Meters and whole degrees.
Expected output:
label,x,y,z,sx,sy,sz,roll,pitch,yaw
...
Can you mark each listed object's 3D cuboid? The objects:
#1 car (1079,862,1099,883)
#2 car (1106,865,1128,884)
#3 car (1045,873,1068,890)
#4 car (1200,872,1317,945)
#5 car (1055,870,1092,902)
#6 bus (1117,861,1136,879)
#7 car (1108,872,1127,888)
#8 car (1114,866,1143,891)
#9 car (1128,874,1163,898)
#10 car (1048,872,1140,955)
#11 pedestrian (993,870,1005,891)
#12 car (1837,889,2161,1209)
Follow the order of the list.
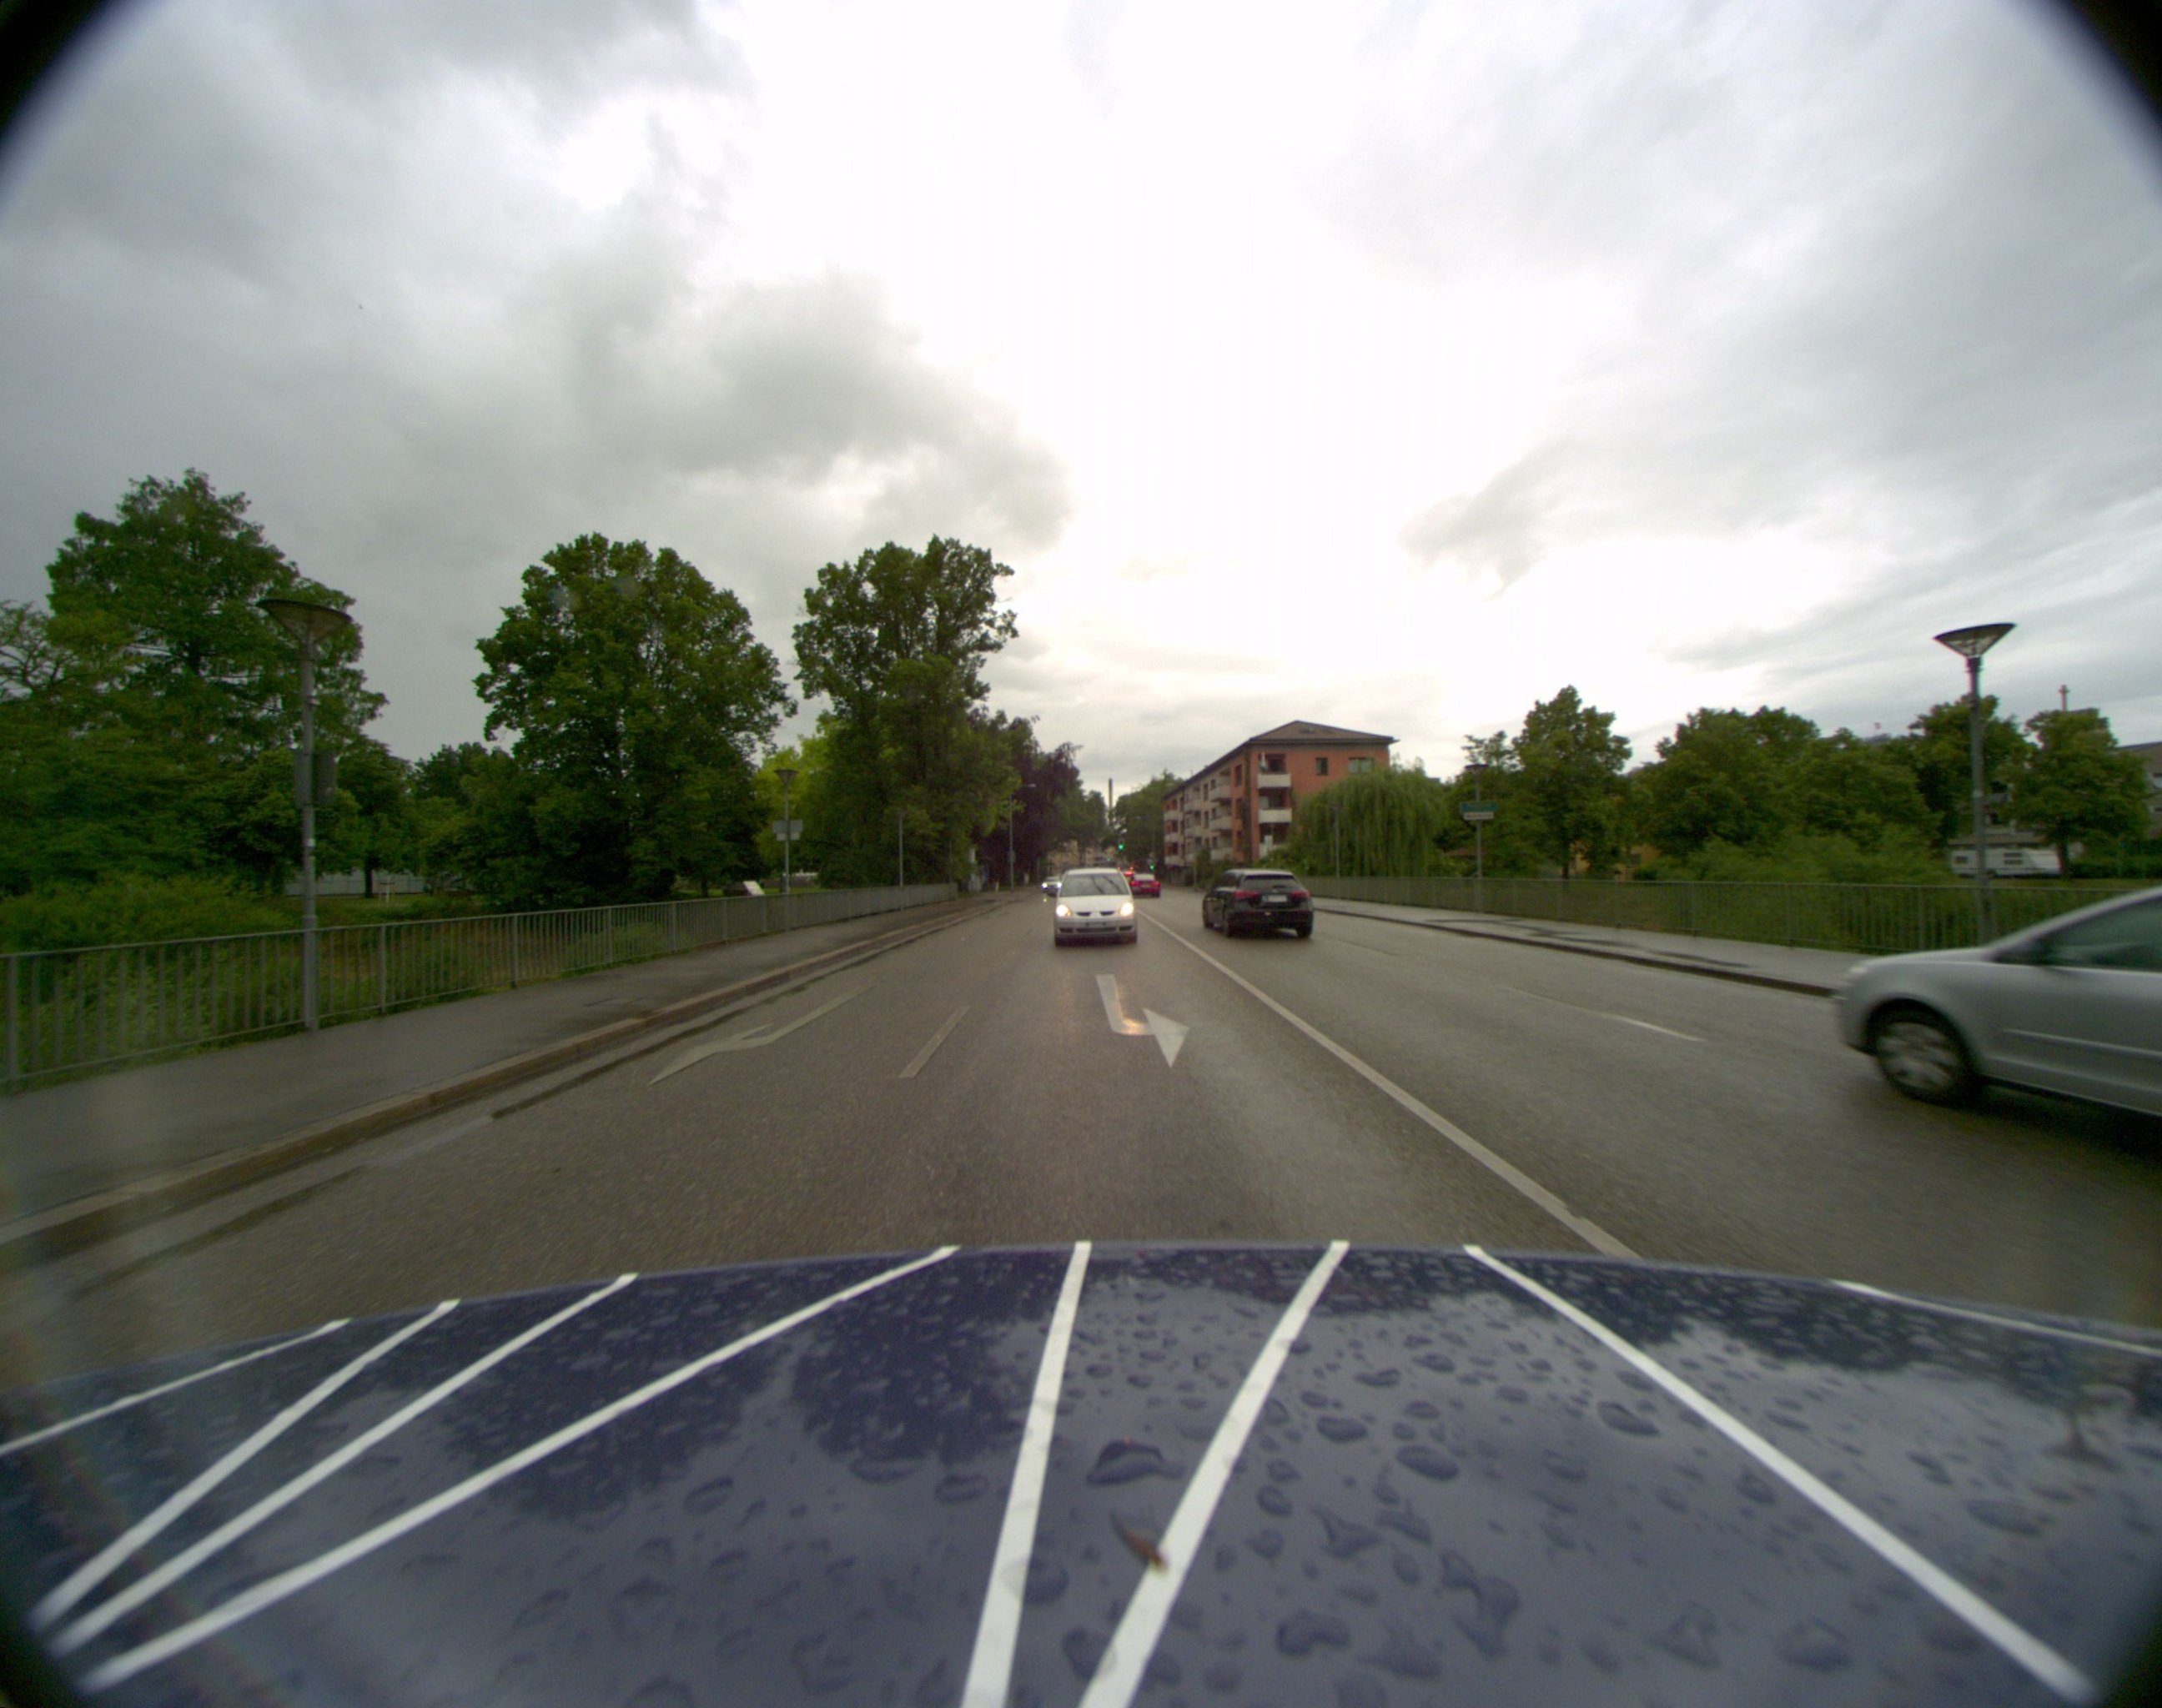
label,x,y,z,sx,sy,sz,roll,pitch,yaw
car,0.908,1.941,81.524,2.037,2.118,4.001,-1,0,1
car,4.380,2.505,93.099,2.295,2.294,6.510,0,-2,0
car,-2.277,2.549,71.206,1.906,1.537,4.001,-1,0,1
car,3.852,1.132,17.151,1.714,1.407,4.094,0,-1,0
car,-0.356,1.606,38.760,1.718,1.508,4.089,-2,-1,0
bus,7.796,2.773,132.036,2.700,2.922,12.086,0,-1,0
car,3.515,2.501,74.105,1.750,1.431,4.001,0,-1,1
car,3.487,1.788,56.320,1.893,1.724,4.372,0,-1,1
car,3.795,1.893,45.581,1.786,1.394,4.219,0,-1,1
car,0.249,1.191,16.856,1.718,1.508,4.808,-2,-1,0
pedestrian,-6.714,2.136,62.314,0.850,1.666,1.168,1,0,0
car,5.834,0.936,3.222,1.630,1.411,3.686,-1,0,1
